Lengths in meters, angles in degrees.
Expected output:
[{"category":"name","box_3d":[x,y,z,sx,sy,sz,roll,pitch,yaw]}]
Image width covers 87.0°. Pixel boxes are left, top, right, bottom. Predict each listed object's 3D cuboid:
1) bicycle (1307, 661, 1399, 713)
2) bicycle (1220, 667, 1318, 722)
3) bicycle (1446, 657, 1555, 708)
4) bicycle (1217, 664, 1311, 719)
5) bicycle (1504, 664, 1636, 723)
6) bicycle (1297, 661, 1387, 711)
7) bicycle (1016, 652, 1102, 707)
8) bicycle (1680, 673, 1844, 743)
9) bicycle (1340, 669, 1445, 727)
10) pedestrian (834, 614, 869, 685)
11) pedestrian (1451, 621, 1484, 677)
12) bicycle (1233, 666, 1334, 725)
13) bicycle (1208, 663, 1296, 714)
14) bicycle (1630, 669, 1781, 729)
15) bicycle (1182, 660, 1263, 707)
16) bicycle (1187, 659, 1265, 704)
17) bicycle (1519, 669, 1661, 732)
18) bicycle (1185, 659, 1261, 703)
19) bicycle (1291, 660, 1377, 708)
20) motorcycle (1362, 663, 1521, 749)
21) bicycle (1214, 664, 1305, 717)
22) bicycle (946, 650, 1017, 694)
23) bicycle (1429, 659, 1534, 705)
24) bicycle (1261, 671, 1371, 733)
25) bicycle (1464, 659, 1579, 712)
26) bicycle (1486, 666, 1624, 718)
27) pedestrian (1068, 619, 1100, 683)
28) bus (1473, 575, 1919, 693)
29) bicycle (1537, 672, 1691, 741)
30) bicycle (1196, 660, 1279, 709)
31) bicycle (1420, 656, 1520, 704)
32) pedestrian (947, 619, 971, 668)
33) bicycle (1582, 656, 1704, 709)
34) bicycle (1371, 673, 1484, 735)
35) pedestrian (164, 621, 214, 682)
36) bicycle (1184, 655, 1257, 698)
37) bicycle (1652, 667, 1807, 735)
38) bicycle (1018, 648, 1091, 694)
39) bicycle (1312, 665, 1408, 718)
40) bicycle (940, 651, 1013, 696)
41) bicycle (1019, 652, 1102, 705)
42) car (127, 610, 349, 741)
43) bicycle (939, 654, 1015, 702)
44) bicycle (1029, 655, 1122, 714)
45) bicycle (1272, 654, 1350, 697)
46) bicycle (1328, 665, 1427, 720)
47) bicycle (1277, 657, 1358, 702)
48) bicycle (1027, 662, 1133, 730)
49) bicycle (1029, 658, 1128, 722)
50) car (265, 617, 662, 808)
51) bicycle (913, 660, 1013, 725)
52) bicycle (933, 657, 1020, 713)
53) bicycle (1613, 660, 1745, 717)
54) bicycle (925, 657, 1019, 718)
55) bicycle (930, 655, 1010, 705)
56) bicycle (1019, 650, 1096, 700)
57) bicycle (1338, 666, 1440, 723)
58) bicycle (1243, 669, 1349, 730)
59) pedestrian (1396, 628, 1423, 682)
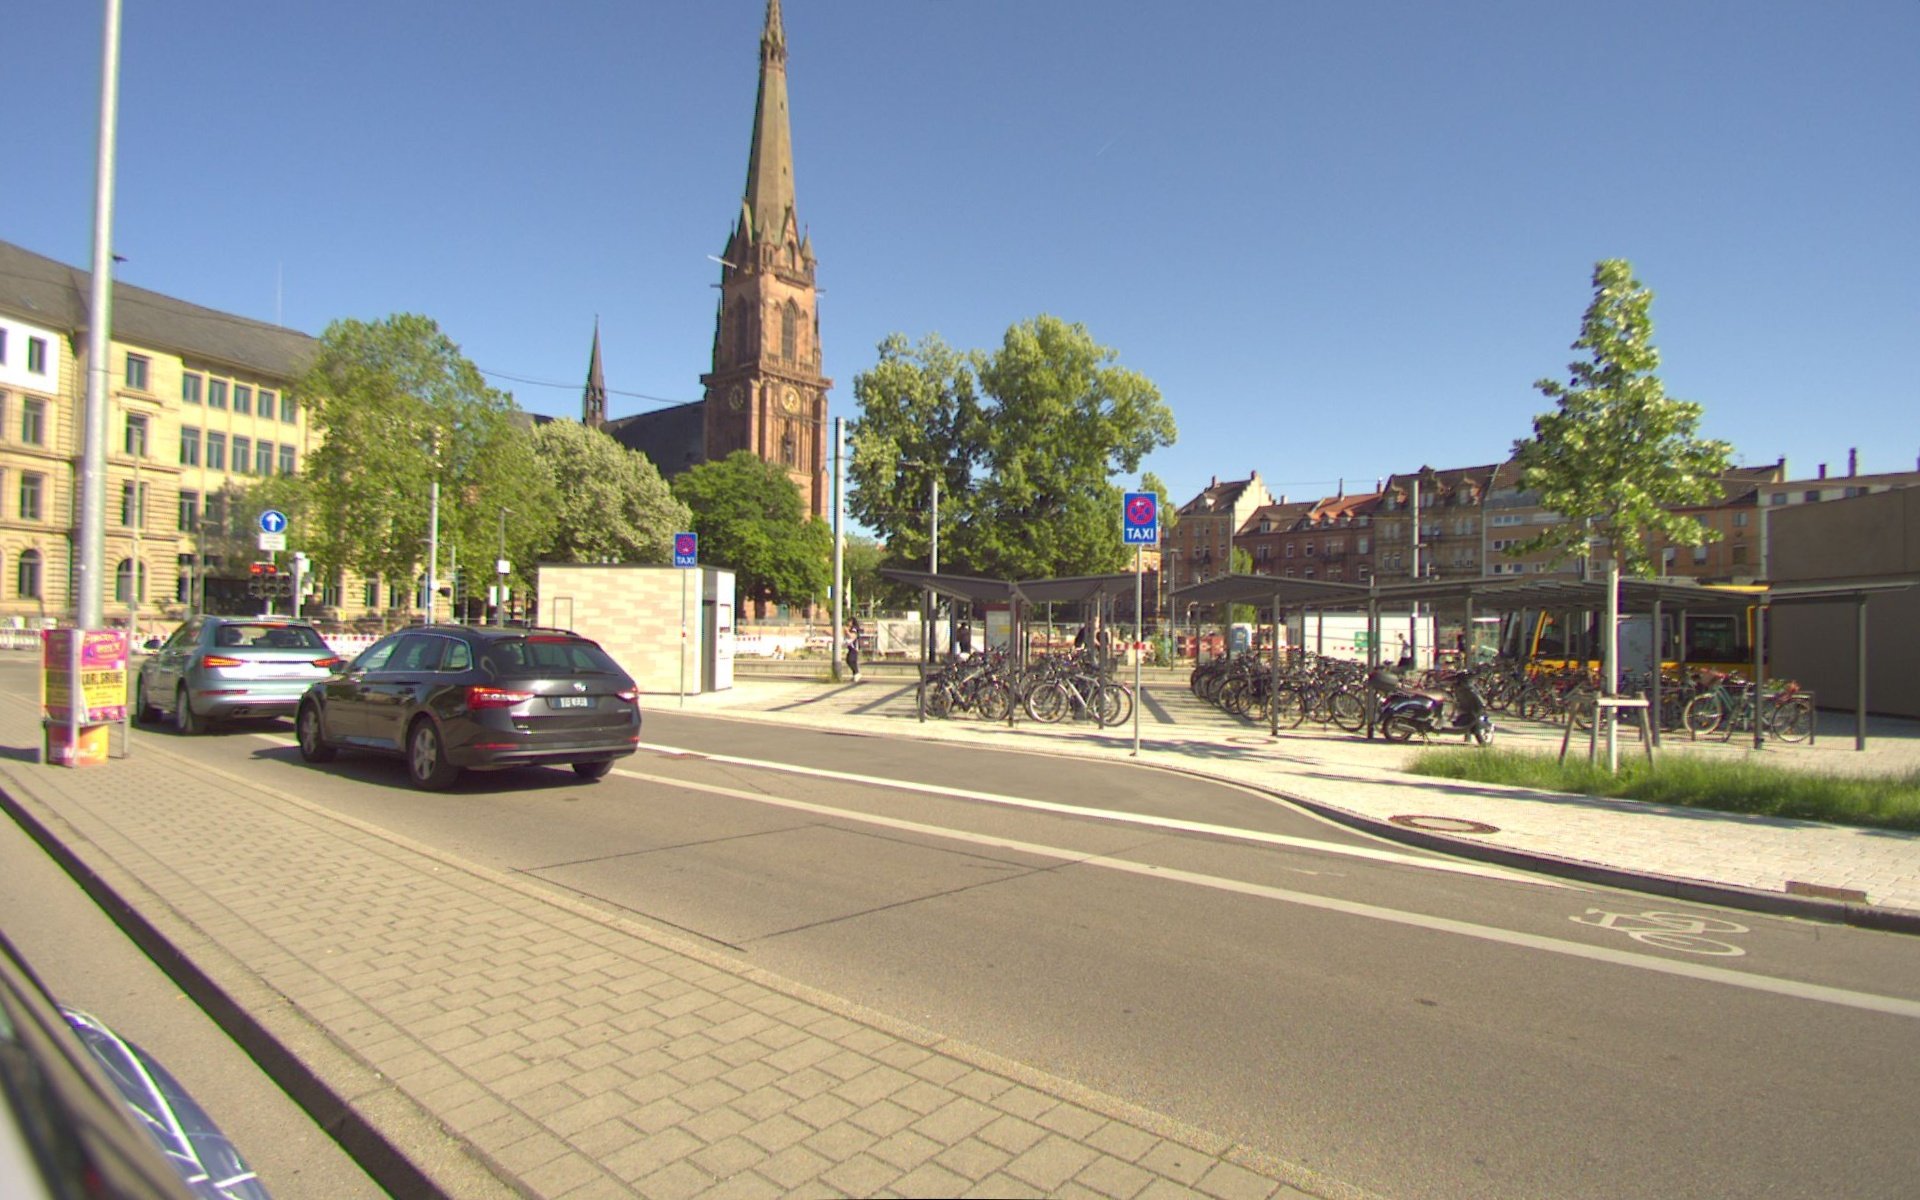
[{"category":"bicycle","box_3d":[7.850,1.732,20.233,1.661,0.980,0.406,-1,0,3]},{"category":"bicycle","box_3d":[5.721,1.752,18.773,1.661,0.980,0.406,-1,0,3]},{"category":"bicycle","box_3d":[11.858,1.803,22.260,2.048,1.045,0.533,-1,2,8]},{"category":"bicycle","box_3d":[5.807,1.739,19.380,1.661,0.980,0.406,1,0,3]},{"category":"bicycle","box_3d":[11.314,1.735,18.817,2.048,1.045,0.533,-1,0,8]},{"category":"bicycle","box_3d":[7.853,1.763,20.830,1.661,0.980,0.406,-1,0,3]},{"category":"bicycle","box_3d":[2.045,1.644,20.977,1.755,1.083,0.406,1,0,6]},{"category":"bicycle","box_3d":[12.760,1.717,16.143,2.048,1.045,0.533,-1,0,8]},{"category":"bicycle","box_3d":[7.636,1.727,17.897,1.661,0.980,0.406,-1,0,3]},{"category":"pedestrian","box_3d":[-2.914,1.328,27.245,0.619,1.874,0.694,-1,-2,34]},{"category":"pedestrian","box_3d":[17.775,1.703,35.459,0.793,1.931,0.769,0,-2,4]},{"category":"bicycle","box_3d":[5.808,1.711,18.193,1.661,0.980,0.406,1,0,3]},{"category":"bicycle","box_3d":[5.917,1.787,20.569,1.661,0.980,0.406,1,-5,3]},{"category":"bicycle","box_3d":[13.472,1.782,18.334,2.117,1.005,0.690,-1,0,7]},{"category":"bicycle","box_3d":[5.778,1.839,22.301,1.661,0.980,0.406,1,-5,3]},{"category":"bicycle","box_3d":[6.046,1.862,23.056,1.661,0.980,0.406,1,-5,3]},{"category":"bicycle","box_3d":[10.955,1.740,17.645,2.048,1.045,0.533,-1,0,8]},{"category":"bicycle","box_3d":[6.130,1.883,23.629,1.661,0.980,0.406,1,-5,3]},{"category":"bicycle","box_3d":[7.981,1.791,21.628,1.661,0.980,0.406,-1,0,3]},{"category":"motorcycle","box_3d":[7.186,1.572,15.164,2.059,1.228,0.569,-1,-2,3]},{"category":"bicycle","box_3d":[5.894,1.783,19.963,1.661,0.980,0.406,1,0,3]},{"category":"bicycle","box_3d":[0.510,1.704,24.192,1.663,1.006,0.406,0,0,8]},{"category":"bicycle","box_3d":[12.023,1.881,23.379,2.048,1.045,0.533,-1,-4,8]},{"category":"bicycle","box_3d":[5.926,1.692,16.894,1.661,0.980,0.406,-1,0,3]},{"category":"bicycle","box_3d":[11.769,1.797,21.269,2.048,1.045,0.533,-1,2,8]},{"category":"bicycle","box_3d":[11.607,1.800,19.795,2.208,0.951,0.685,-1,0,7]},{"category":"pedestrian","box_3d":[3.417,1.411,27.977,0.823,1.740,0.620,0,-2,4]},{"category":"bus","box_3d":[22.182,0.936,28.625,13.462,3.095,2.859,0,-2,6]},{"category":"bicycle","box_3d":[10.565,1.713,16.394,2.048,1.045,0.533,-1,0,8]},{"category":"bicycle","box_3d":[5.918,1.807,21.644,1.661,0.980,0.406,1,-5,3]},{"category":"bicycle","box_3d":[12.292,1.921,24.434,2.048,1.045,0.533,1,3,8]},{"category":"pedestrian","box_3d":[-0.056,1.669,39.115,0.610,1.874,0.703,2,-2,-39]},{"category":"bicycle","box_3d":[14.071,1.698,20.882,2.048,1.045,0.533,-1,0,8]},{"category":"bicycle","box_3d":[7.761,1.725,16.826,1.661,0.980,0.406,-1,0,3]},{"category":"pedestrian","box_3d":[-21.689,1.425,28.480,0.628,1.680,0.923,-1,-2,31]},{"category":"bicycle","box_3d":[6.248,1.838,24.316,1.661,0.980,0.406,1,-5,3]},{"category":"bicycle","box_3d":[12.982,1.698,17.120,2.030,1.087,0.604,-1,0,7]},{"category":"bicycle","box_3d":[2.306,1.725,24.682,1.755,1.083,0.406,1,0,6]},{"category":"bicycle","box_3d":[7.709,1.765,19.534,1.661,0.980,0.406,-1,0,3]},{"category":"bicycle","box_3d":[0.386,1.703,23.666,1.663,1.006,0.406,0,0,8]},{"category":"bicycle","box_3d":[2.185,1.696,22.033,1.755,1.083,0.406,1,0,6]},{"category":"car","box_3d":[-10.397,1.008,14.456,4.258,1.594,1.768,-2,-4,44]},{"category":"bicycle","box_3d":[0.377,1.707,22.289,1.663,1.006,0.406,0,0,8]},{"category":"bicycle","box_3d":[2.228,1.622,19.587,1.755,1.083,0.406,1,0,6]},{"category":"bicycle","box_3d":[8.284,1.787,23.919,1.661,0.980,0.406,-1,0,3]},{"category":"bicycle","box_3d":[7.835,1.732,19.018,1.661,0.980,0.406,-1,0,3]},{"category":"bicycle","box_3d":[8.065,1.790,22.843,1.661,0.980,0.406,-1,0,3]},{"category":"bicycle","box_3d":[2.015,1.608,17.097,1.753,1.083,0.406,1,-3,6]},{"category":"bicycle","box_3d":[2.132,1.619,18.341,1.753,1.083,0.406,1,0,6]},{"category":"car","box_3d":[-5.204,0.992,10.296,4.780,1.516,1.795,-1,-4,40]},{"category":"bicycle","box_3d":[0.060,1.576,17.387,1.663,1.006,0.406,2,0,8]},{"category":"bicycle","box_3d":[0.321,1.666,19.949,1.663,1.006,0.406,2,0,8]},{"category":"bicycle","box_3d":[13.845,1.701,19.530,2.048,1.045,0.533,-1,0,8]},{"category":"bicycle","box_3d":[0.224,1.599,18.606,1.663,1.006,0.406,2,0,8]},{"category":"bicycle","box_3d":[0.222,1.678,21.408,1.663,1.006,0.406,0,0,8]},{"category":"bicycle","box_3d":[2.265,1.733,23.503,1.755,1.083,0.406,1,0,6]},{"category":"bicycle","box_3d":[7.816,1.724,18.464,1.661,0.980,0.406,-1,0,3]},{"category":"bicycle","box_3d":[5.786,1.711,17.467,1.661,0.980,0.406,1,0,3]},{"category":"pedestrian","box_3d":[17.325,2.114,39.016,0.793,2.029,0.535,0,-2,4]}]
